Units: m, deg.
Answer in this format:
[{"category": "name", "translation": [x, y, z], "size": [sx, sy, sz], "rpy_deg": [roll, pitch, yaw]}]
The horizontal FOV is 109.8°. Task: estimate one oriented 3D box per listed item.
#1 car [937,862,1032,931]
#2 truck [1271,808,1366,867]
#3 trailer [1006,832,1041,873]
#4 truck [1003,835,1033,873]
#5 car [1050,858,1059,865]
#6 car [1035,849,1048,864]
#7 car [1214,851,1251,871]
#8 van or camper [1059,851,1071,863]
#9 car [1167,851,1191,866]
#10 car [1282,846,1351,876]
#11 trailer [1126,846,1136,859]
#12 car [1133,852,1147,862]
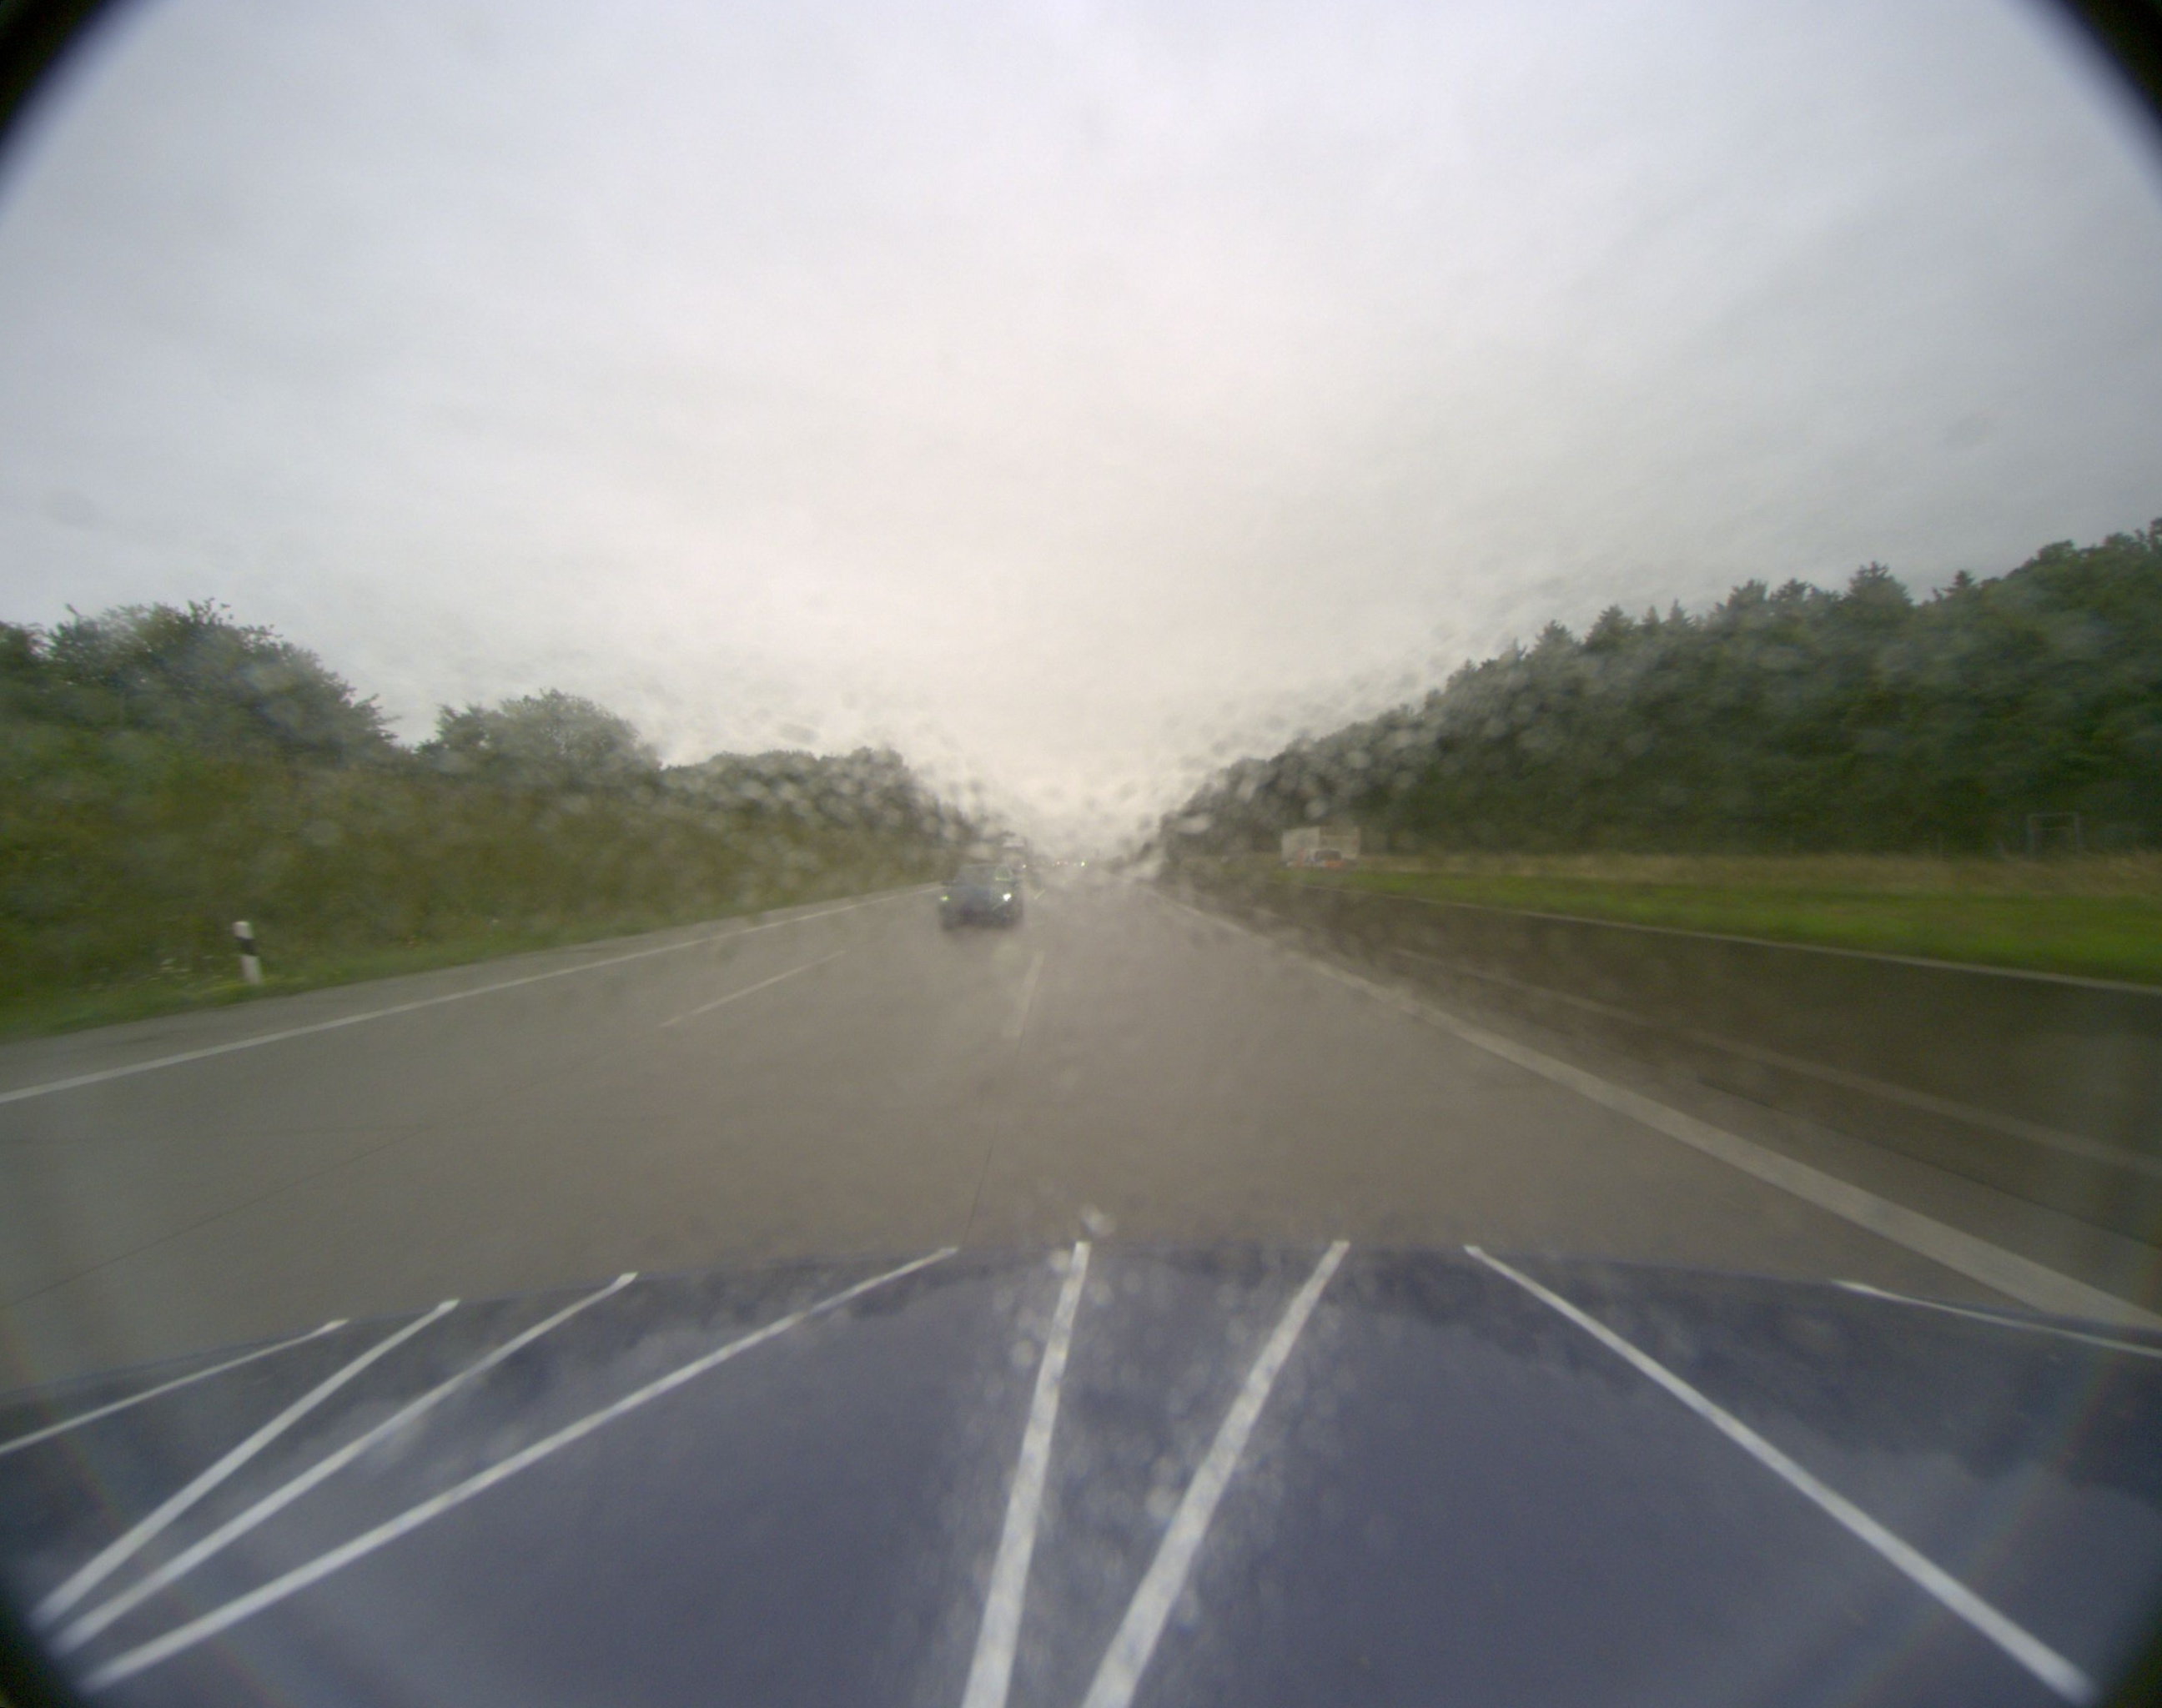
[{"category": "car", "translation": [-2.291, 0.956, 19.176], "size": [1.734, 1.450, 4.672], "rpy_deg": [-1, 0, 0]}, {"category": "truck", "translation": [17.005, -0.996, 55.614], "size": [2.910, 3.833, 12.450], "rpy_deg": [-1, -1, 0]}, {"category": "trailer", "translation": [-6.721, -0.090, 90.615], "size": [2.713, 4.353, 15.206], "rpy_deg": [-3, -1, 0]}, {"category": "truck", "translation": [-6.794, 0.033, 82.958], "size": [2.643, 3.930, 5.686], "rpy_deg": [-3, -1, 0]}, {"category": "car", "translation": [-7.295, 2.123, 210.764], "size": [1.998, 1.575, 5.955], "rpy_deg": [-3, -1, 1]}, {"category": "car", "translation": [-7.372, 0.509, 142.560], "size": [1.946, 2.642, 6.588], "rpy_deg": [-2, -1, 1]}, {"category": "car", "translation": [12.843, 0.590, 64.705], "size": [1.995, 1.622, 5.382], "rpy_deg": [-1, 0, -1]}, {"category": "van or camper", "translation": [-3.523, 0.715, 165.772], "size": [2.233, 2.537, 7.950], "rpy_deg": [0, 0, 1]}, {"category": "car", "translation": [9.681, 0.401, 75.395], "size": [1.732, 1.471, 4.454], "rpy_deg": [0, 0, -1]}, {"category": "car", "translation": [13.569, 0.399, 44.231], "size": [2.115, 1.621, 5.851], "rpy_deg": [0, -1, -1]}, {"category": "trailer", "translation": [16.082, -0.442, 245.471], "size": [2.671, 3.948, 11.136], "rpy_deg": [-1, 0, 0]}, {"category": "car", "translation": [9.101, 0.454, 116.979], "size": [1.656, 1.533, 4.454], "rpy_deg": [-1, 0, -1]}]
